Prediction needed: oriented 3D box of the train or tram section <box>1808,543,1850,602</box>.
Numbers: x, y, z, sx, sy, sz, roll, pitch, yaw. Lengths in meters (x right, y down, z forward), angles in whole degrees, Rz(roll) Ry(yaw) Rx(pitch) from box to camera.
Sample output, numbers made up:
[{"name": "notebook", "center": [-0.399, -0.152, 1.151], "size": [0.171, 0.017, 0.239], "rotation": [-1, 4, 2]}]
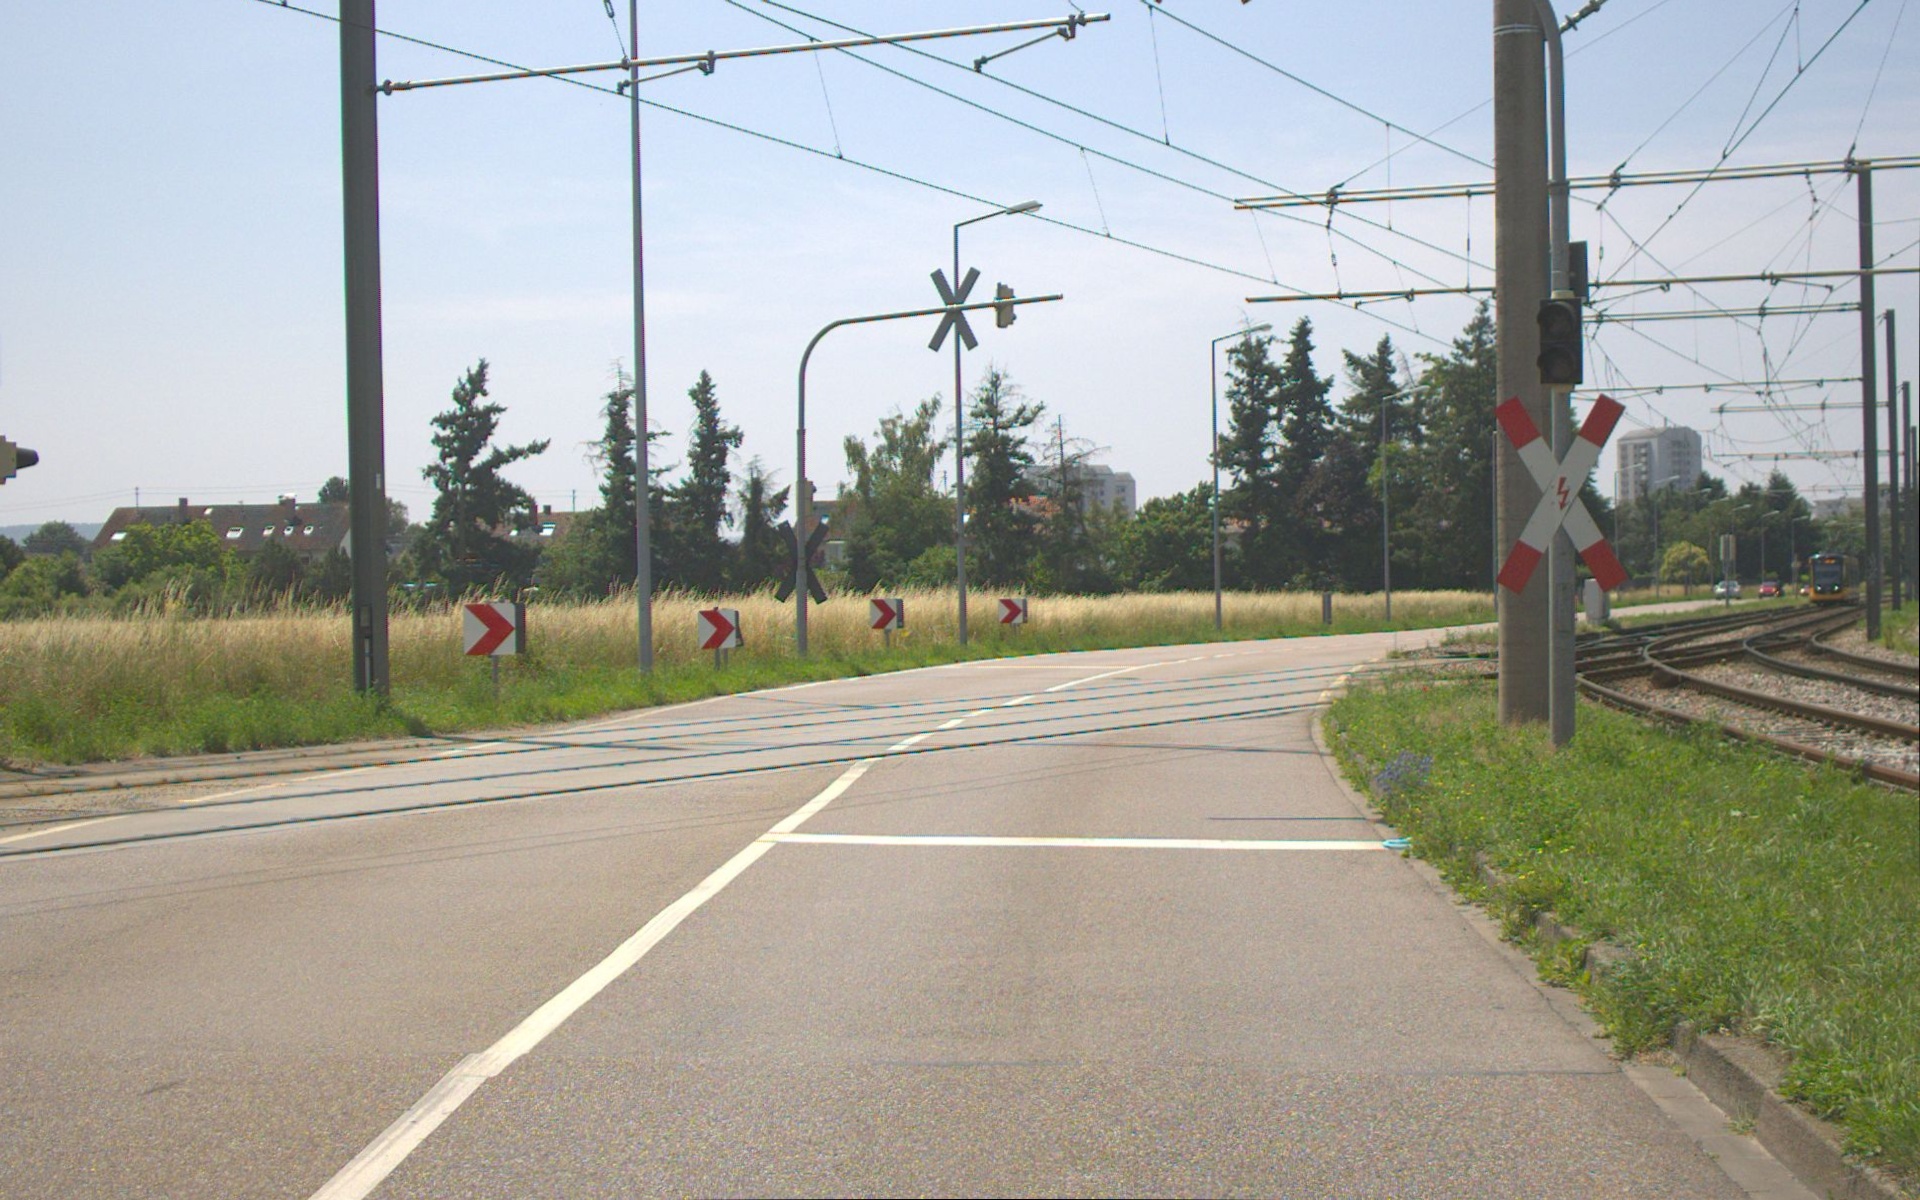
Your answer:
[{"name": "train or tram section", "center": [59.623, -1.833, 235.735], "size": [2.431, 3.753, 11.550], "rotation": [-1, -1, 16]}]
